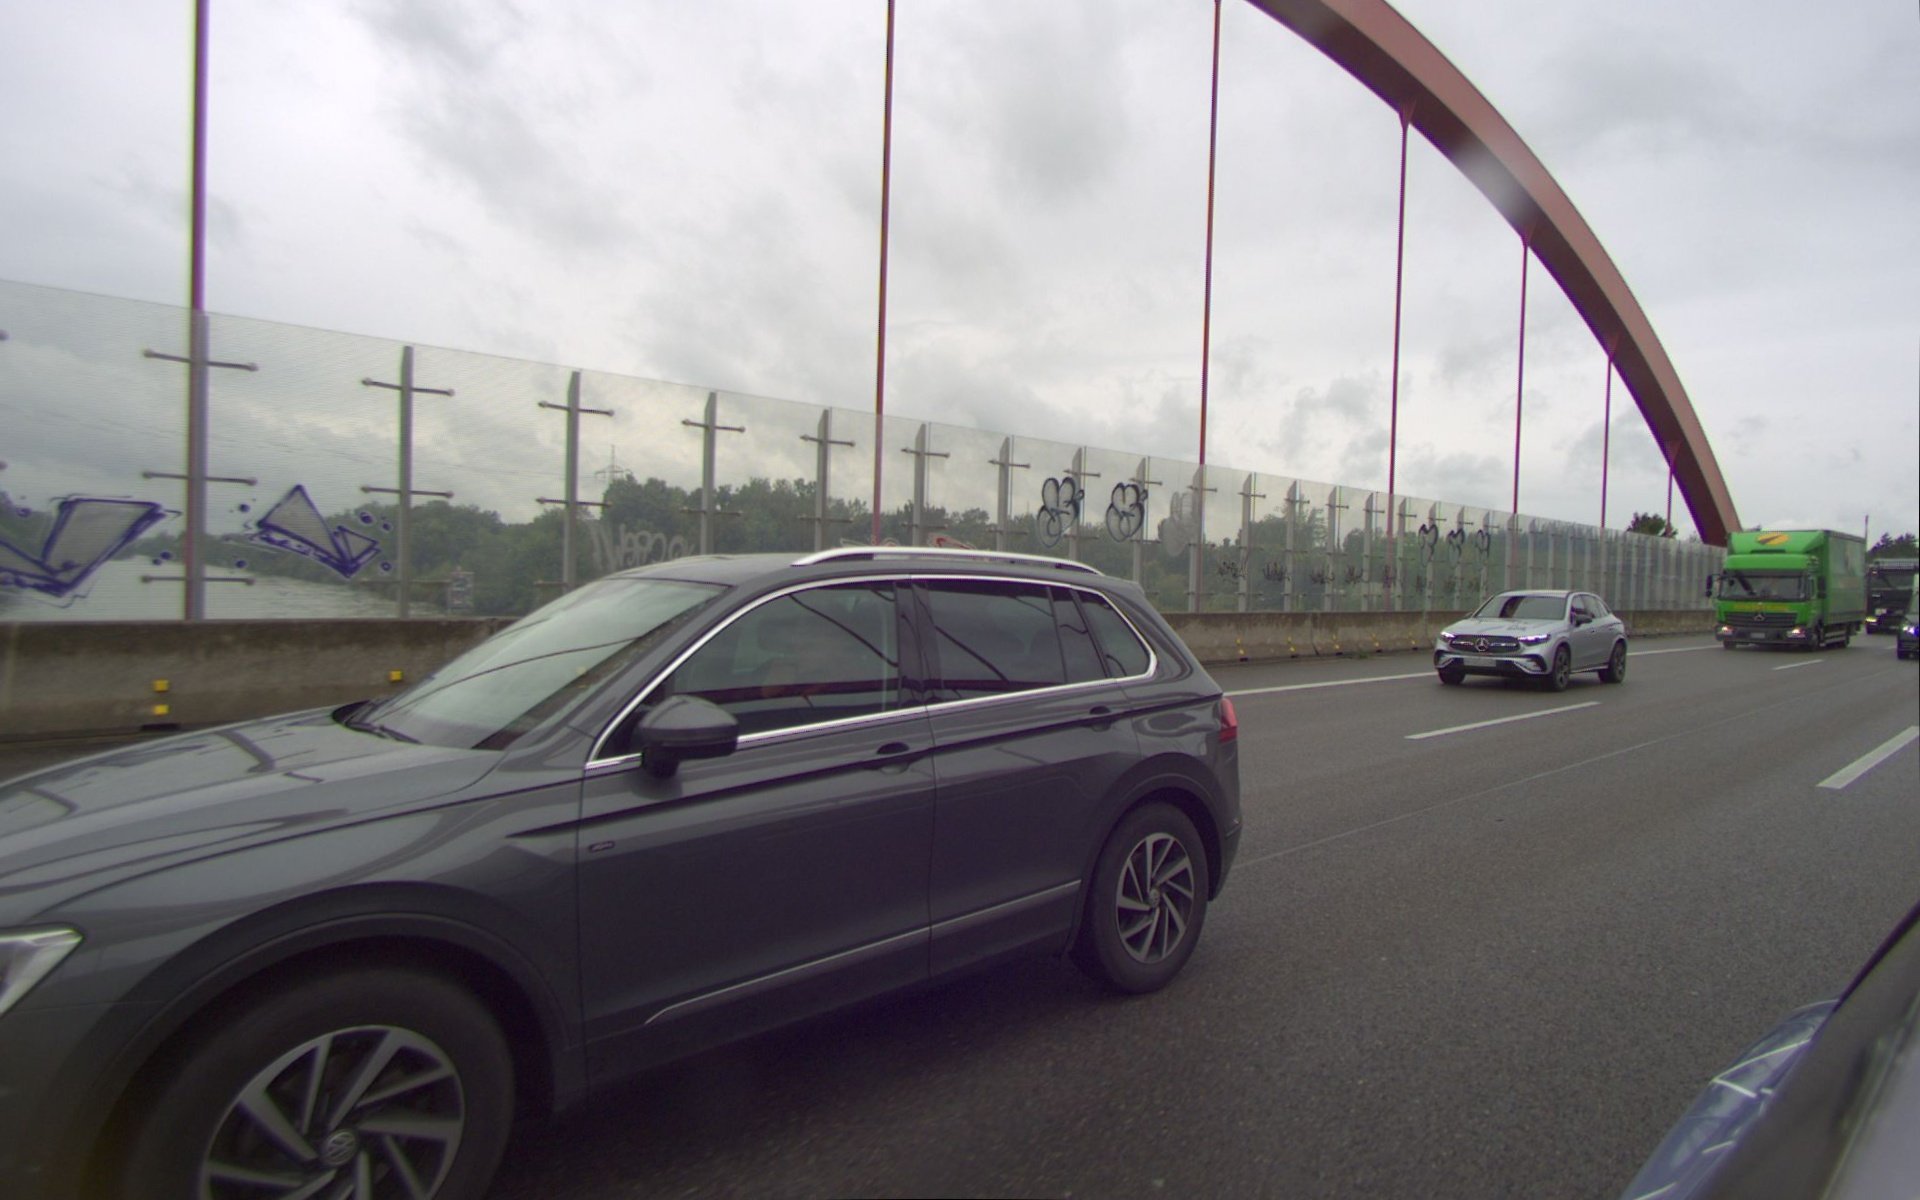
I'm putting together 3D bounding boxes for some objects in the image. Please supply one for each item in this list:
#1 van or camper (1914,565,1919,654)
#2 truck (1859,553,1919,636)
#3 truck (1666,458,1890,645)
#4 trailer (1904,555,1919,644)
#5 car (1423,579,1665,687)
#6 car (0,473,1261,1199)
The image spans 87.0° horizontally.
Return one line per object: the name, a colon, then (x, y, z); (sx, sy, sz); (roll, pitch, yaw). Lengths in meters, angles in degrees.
van or camper: (27.441, 0.245, 27.499); (5.584, 2.298, 1.892); (0, 0, -43)
truck: (50.750, -0.314, 54.161); (12.501, 3.999, 2.816); (0, 2, -44)
truck: (27.823, -1.428, 34.133); (11.023, 5.332, 4.005); (0, 0, -41)
trailer: (32.194, 0.032, 31.929); (7.380, 2.675, 2.726); (0, 1, -41)
car: (10.429, 0.492, 17.878); (5.232, 1.639, 1.998); (0, 0, -39)
car: (-0.909, 0.622, 3.511); (4.033, 1.691, 1.915); (0, 1, -42)
